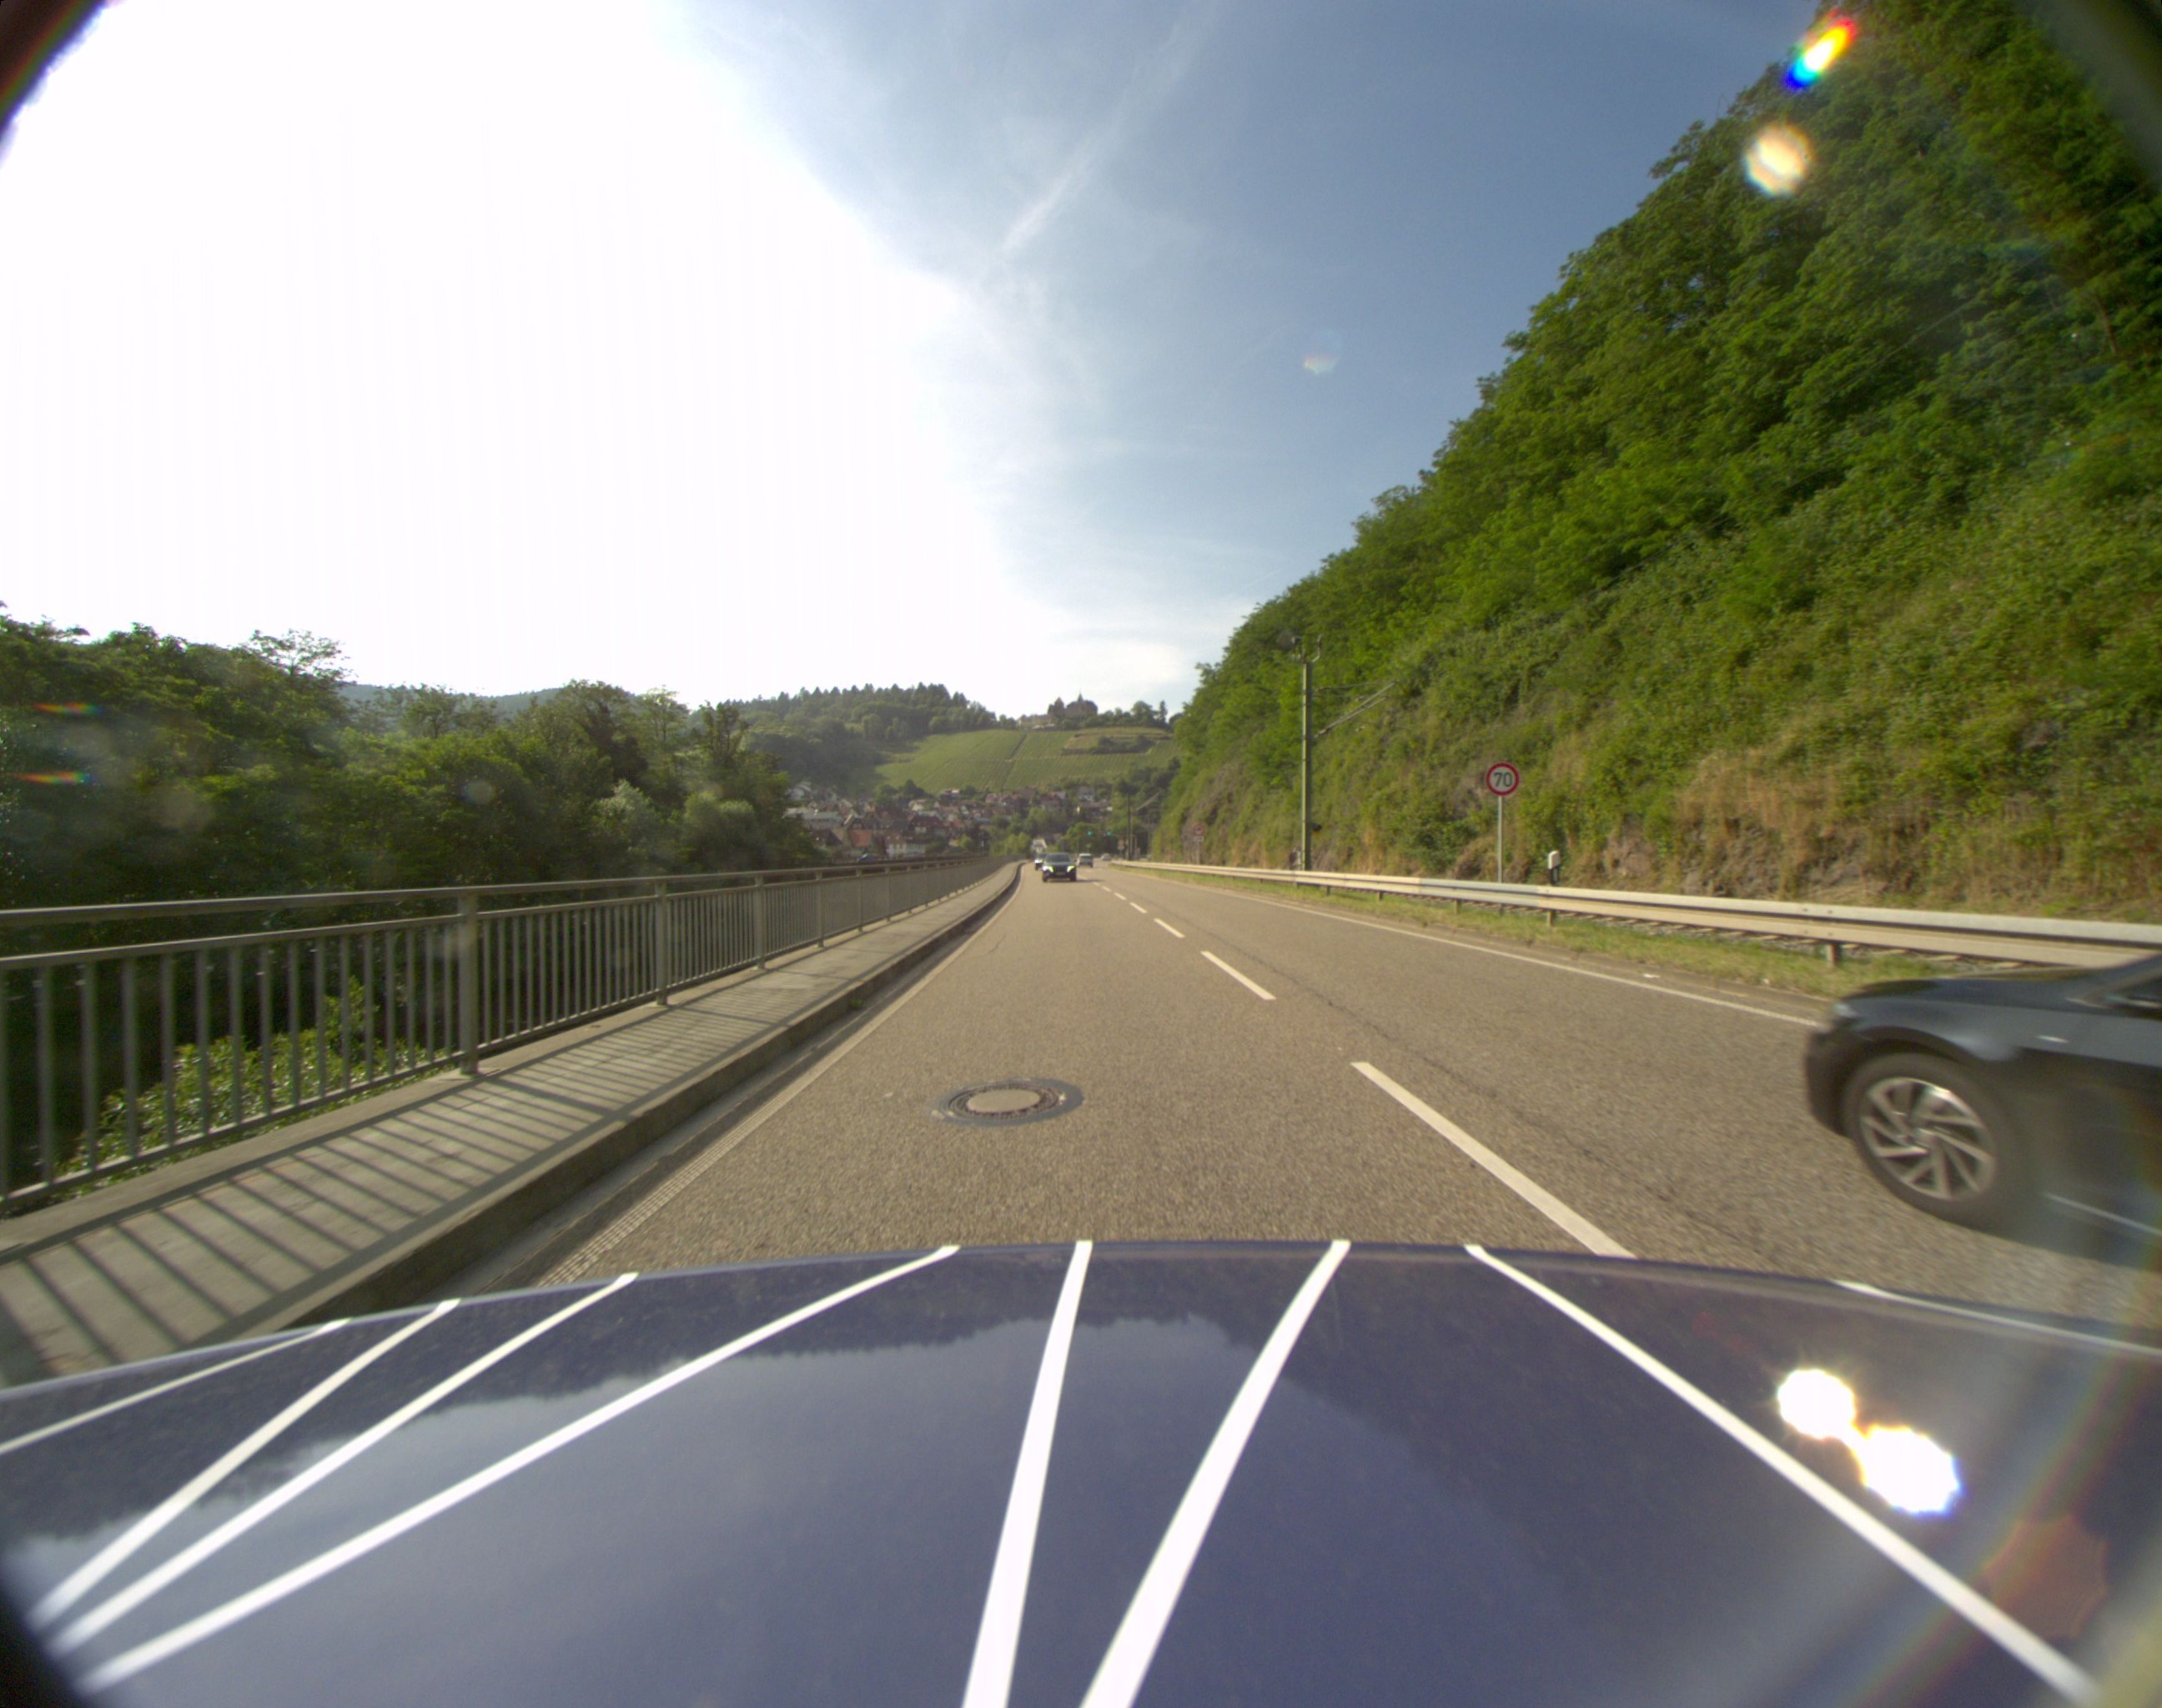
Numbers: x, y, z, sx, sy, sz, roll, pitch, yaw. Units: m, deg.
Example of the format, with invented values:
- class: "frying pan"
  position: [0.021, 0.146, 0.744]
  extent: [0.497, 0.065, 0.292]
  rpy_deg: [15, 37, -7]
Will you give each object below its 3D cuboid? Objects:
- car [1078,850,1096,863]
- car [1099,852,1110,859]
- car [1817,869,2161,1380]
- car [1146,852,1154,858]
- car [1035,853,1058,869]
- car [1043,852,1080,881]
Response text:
- class: "car"
  position: [0.658, 0.286, 86.735]
  extent: [1.852, 1.535, 4.602]
  rpy_deg: [0, 0, -4]
- class: "car"
  position: [5.198, 0.344, 168.364]
  extent: [2.068, 1.431, 4.688]
  rpy_deg: [0, 0, 5]
- class: "car"
  position: [4.046, 0.795, 1.278]
  extent: [1.852, 1.432, 3.897]
  rpy_deg: [-1, 0, 0]
- class: "car"
  position: [19.913, 0.318, 219.444]
  extent: [1.721, 1.561, 4.139]
  rpy_deg: [-1, 1, 16]
- class: "car"
  position: [-3.244, 0.637, 71.465]
  extent: [1.999, 1.384, 3.998]
  rpy_deg: [2, 0, -4]
- class: "car"
  position: [-1.176, 0.675, 43.545]
  extent: [1.864, 1.576, 3.998]
  rpy_deg: [1, 0, -6]
